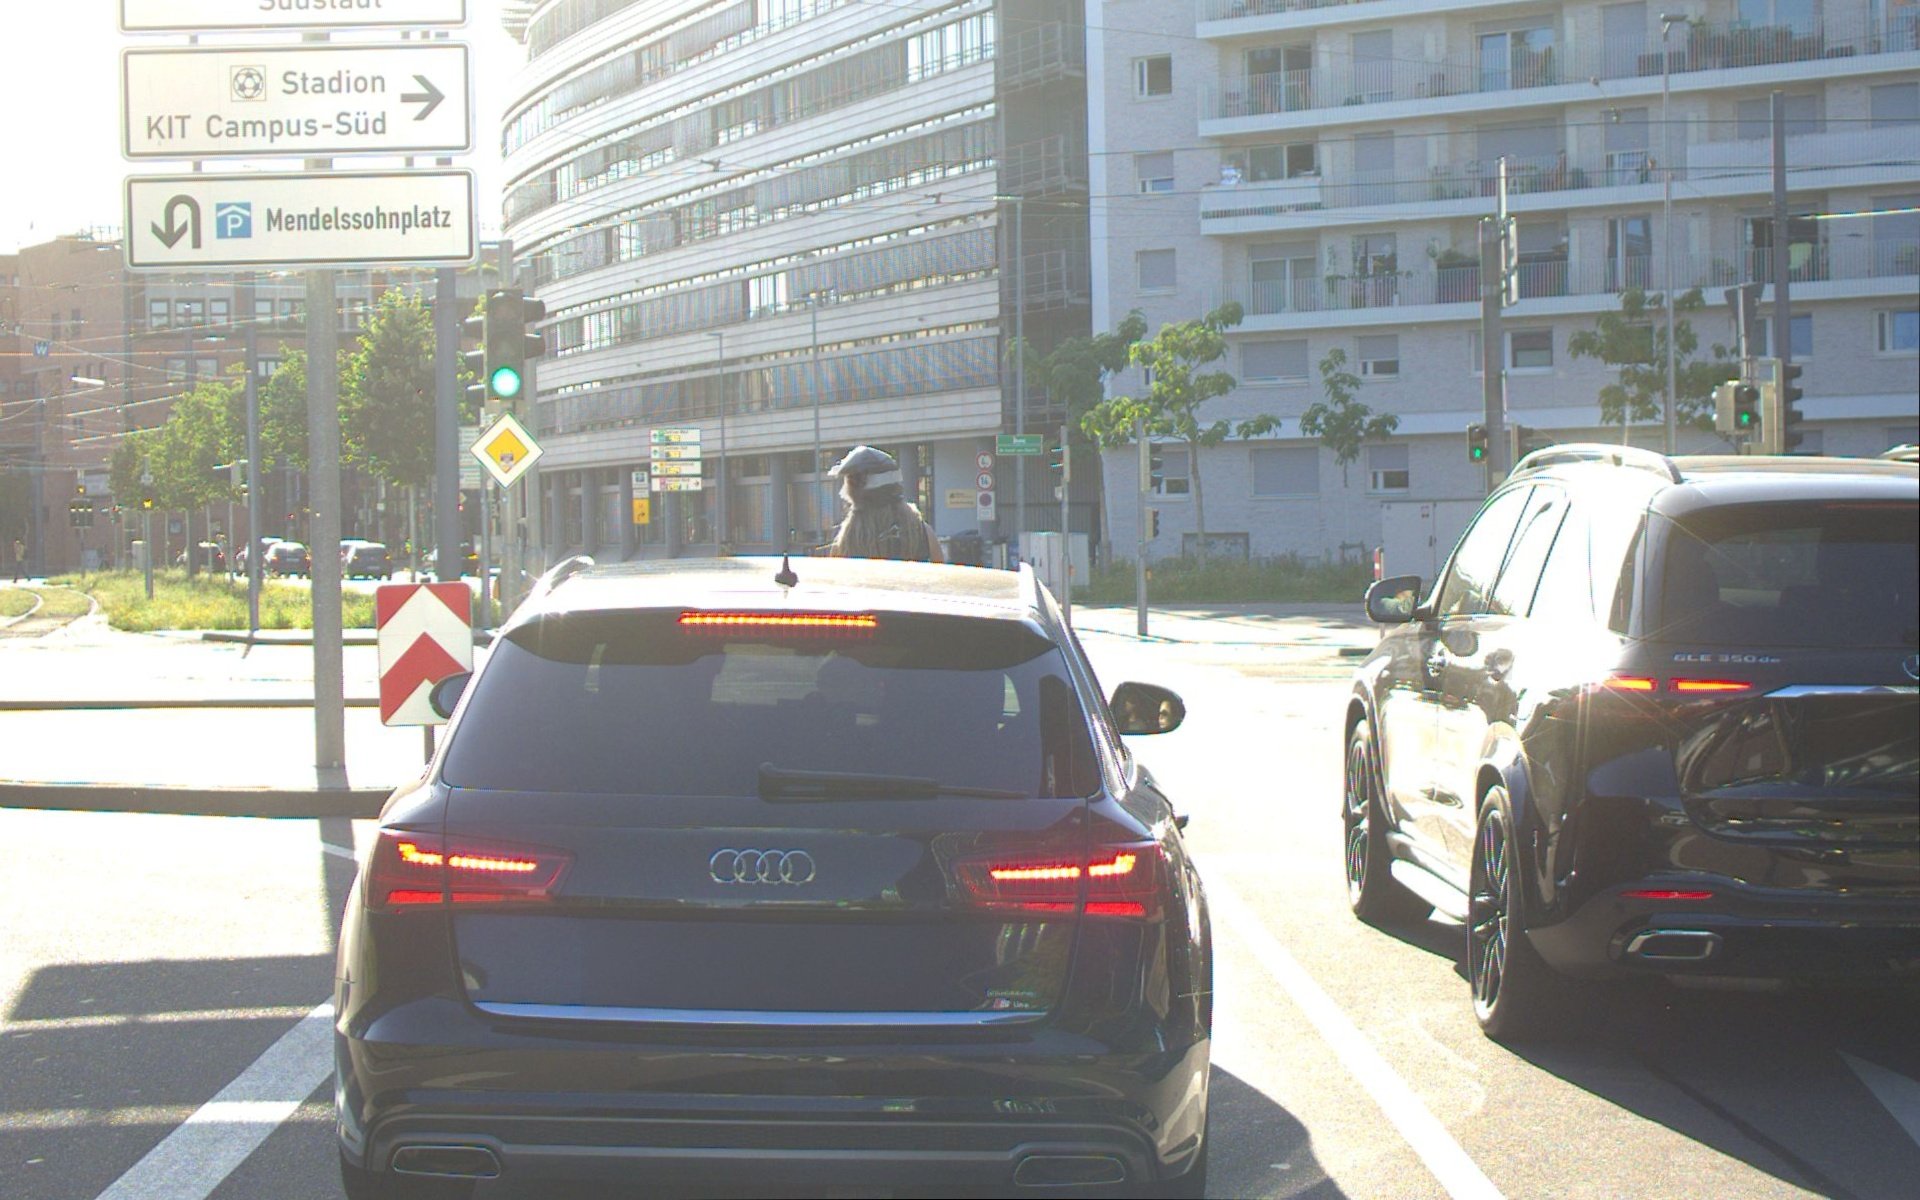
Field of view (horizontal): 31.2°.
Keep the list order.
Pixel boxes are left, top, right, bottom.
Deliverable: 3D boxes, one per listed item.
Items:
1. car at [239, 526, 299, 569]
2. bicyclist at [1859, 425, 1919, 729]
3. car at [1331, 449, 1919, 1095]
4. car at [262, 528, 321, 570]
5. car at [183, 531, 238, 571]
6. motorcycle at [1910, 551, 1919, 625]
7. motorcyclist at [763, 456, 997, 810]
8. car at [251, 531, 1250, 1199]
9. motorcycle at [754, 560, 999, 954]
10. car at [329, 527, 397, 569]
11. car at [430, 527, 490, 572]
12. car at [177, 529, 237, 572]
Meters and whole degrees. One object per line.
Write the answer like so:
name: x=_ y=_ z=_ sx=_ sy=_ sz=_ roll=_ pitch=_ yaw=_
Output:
car: x=-29.441 y=-2.225 z=146.392 sx=1.993 sy=1.700 sz=4.001 roll=-2 pitch=1 yaw=-19
bicyclist: x=5.409 y=-0.138 z=18.988 sx=0.654 sy=1.637 sz=0.972 roll=-1 pitch=2 yaw=3
car: x=2.504 y=0.407 z=11.343 sx=2.003 sy=1.709 sz=4.373 roll=1 pitch=2 yaw=-1
car: x=-27.210 y=-2.062 z=139.820 sx=1.993 sy=1.590 sz=4.001 roll=-2 pitch=1 yaw=-16
car: x=-34.308 y=-2.237 z=157.354 sx=1.993 sy=1.700 sz=4.001 roll=-2 pitch=1 yaw=-19
motorcycle: x=14.431 y=-0.182 z=47.541 sx=2.454 sy=0.997 sz=1.171 roll=-1 pitch=1 yaw=14
motorcyclist: x=-0.304 y=0.119 z=13.289 sx=0.862 sy=1.322 sz=0.681 roll=-1 pitch=1 yaw=-1
car: x=-0.427 y=0.583 z=8.398 sx=1.842 sy=1.449 sz=4.001 roll=1 pitch=2 yaw=-1
motorcycle: x=-0.308 y=0.549 z=13.240 sx=0.862 sy=1.388 sz=1.894 roll=-1 pitch=1 yaw=-1
car: x=-23.857 y=-2.073 z=137.350 sx=1.993 sy=1.590 sz=4.001 roll=-2 pitch=1 yaw=-20
car: x=-21.779 y=-2.189 z=149.653 sx=1.993 sy=1.831 sz=4.001 roll=-2 pitch=1 yaw=-16
car: x=-31.809 y=-2.093 z=145.221 sx=1.993 sy=1.700 sz=4.001 roll=-2 pitch=1 yaw=-19
